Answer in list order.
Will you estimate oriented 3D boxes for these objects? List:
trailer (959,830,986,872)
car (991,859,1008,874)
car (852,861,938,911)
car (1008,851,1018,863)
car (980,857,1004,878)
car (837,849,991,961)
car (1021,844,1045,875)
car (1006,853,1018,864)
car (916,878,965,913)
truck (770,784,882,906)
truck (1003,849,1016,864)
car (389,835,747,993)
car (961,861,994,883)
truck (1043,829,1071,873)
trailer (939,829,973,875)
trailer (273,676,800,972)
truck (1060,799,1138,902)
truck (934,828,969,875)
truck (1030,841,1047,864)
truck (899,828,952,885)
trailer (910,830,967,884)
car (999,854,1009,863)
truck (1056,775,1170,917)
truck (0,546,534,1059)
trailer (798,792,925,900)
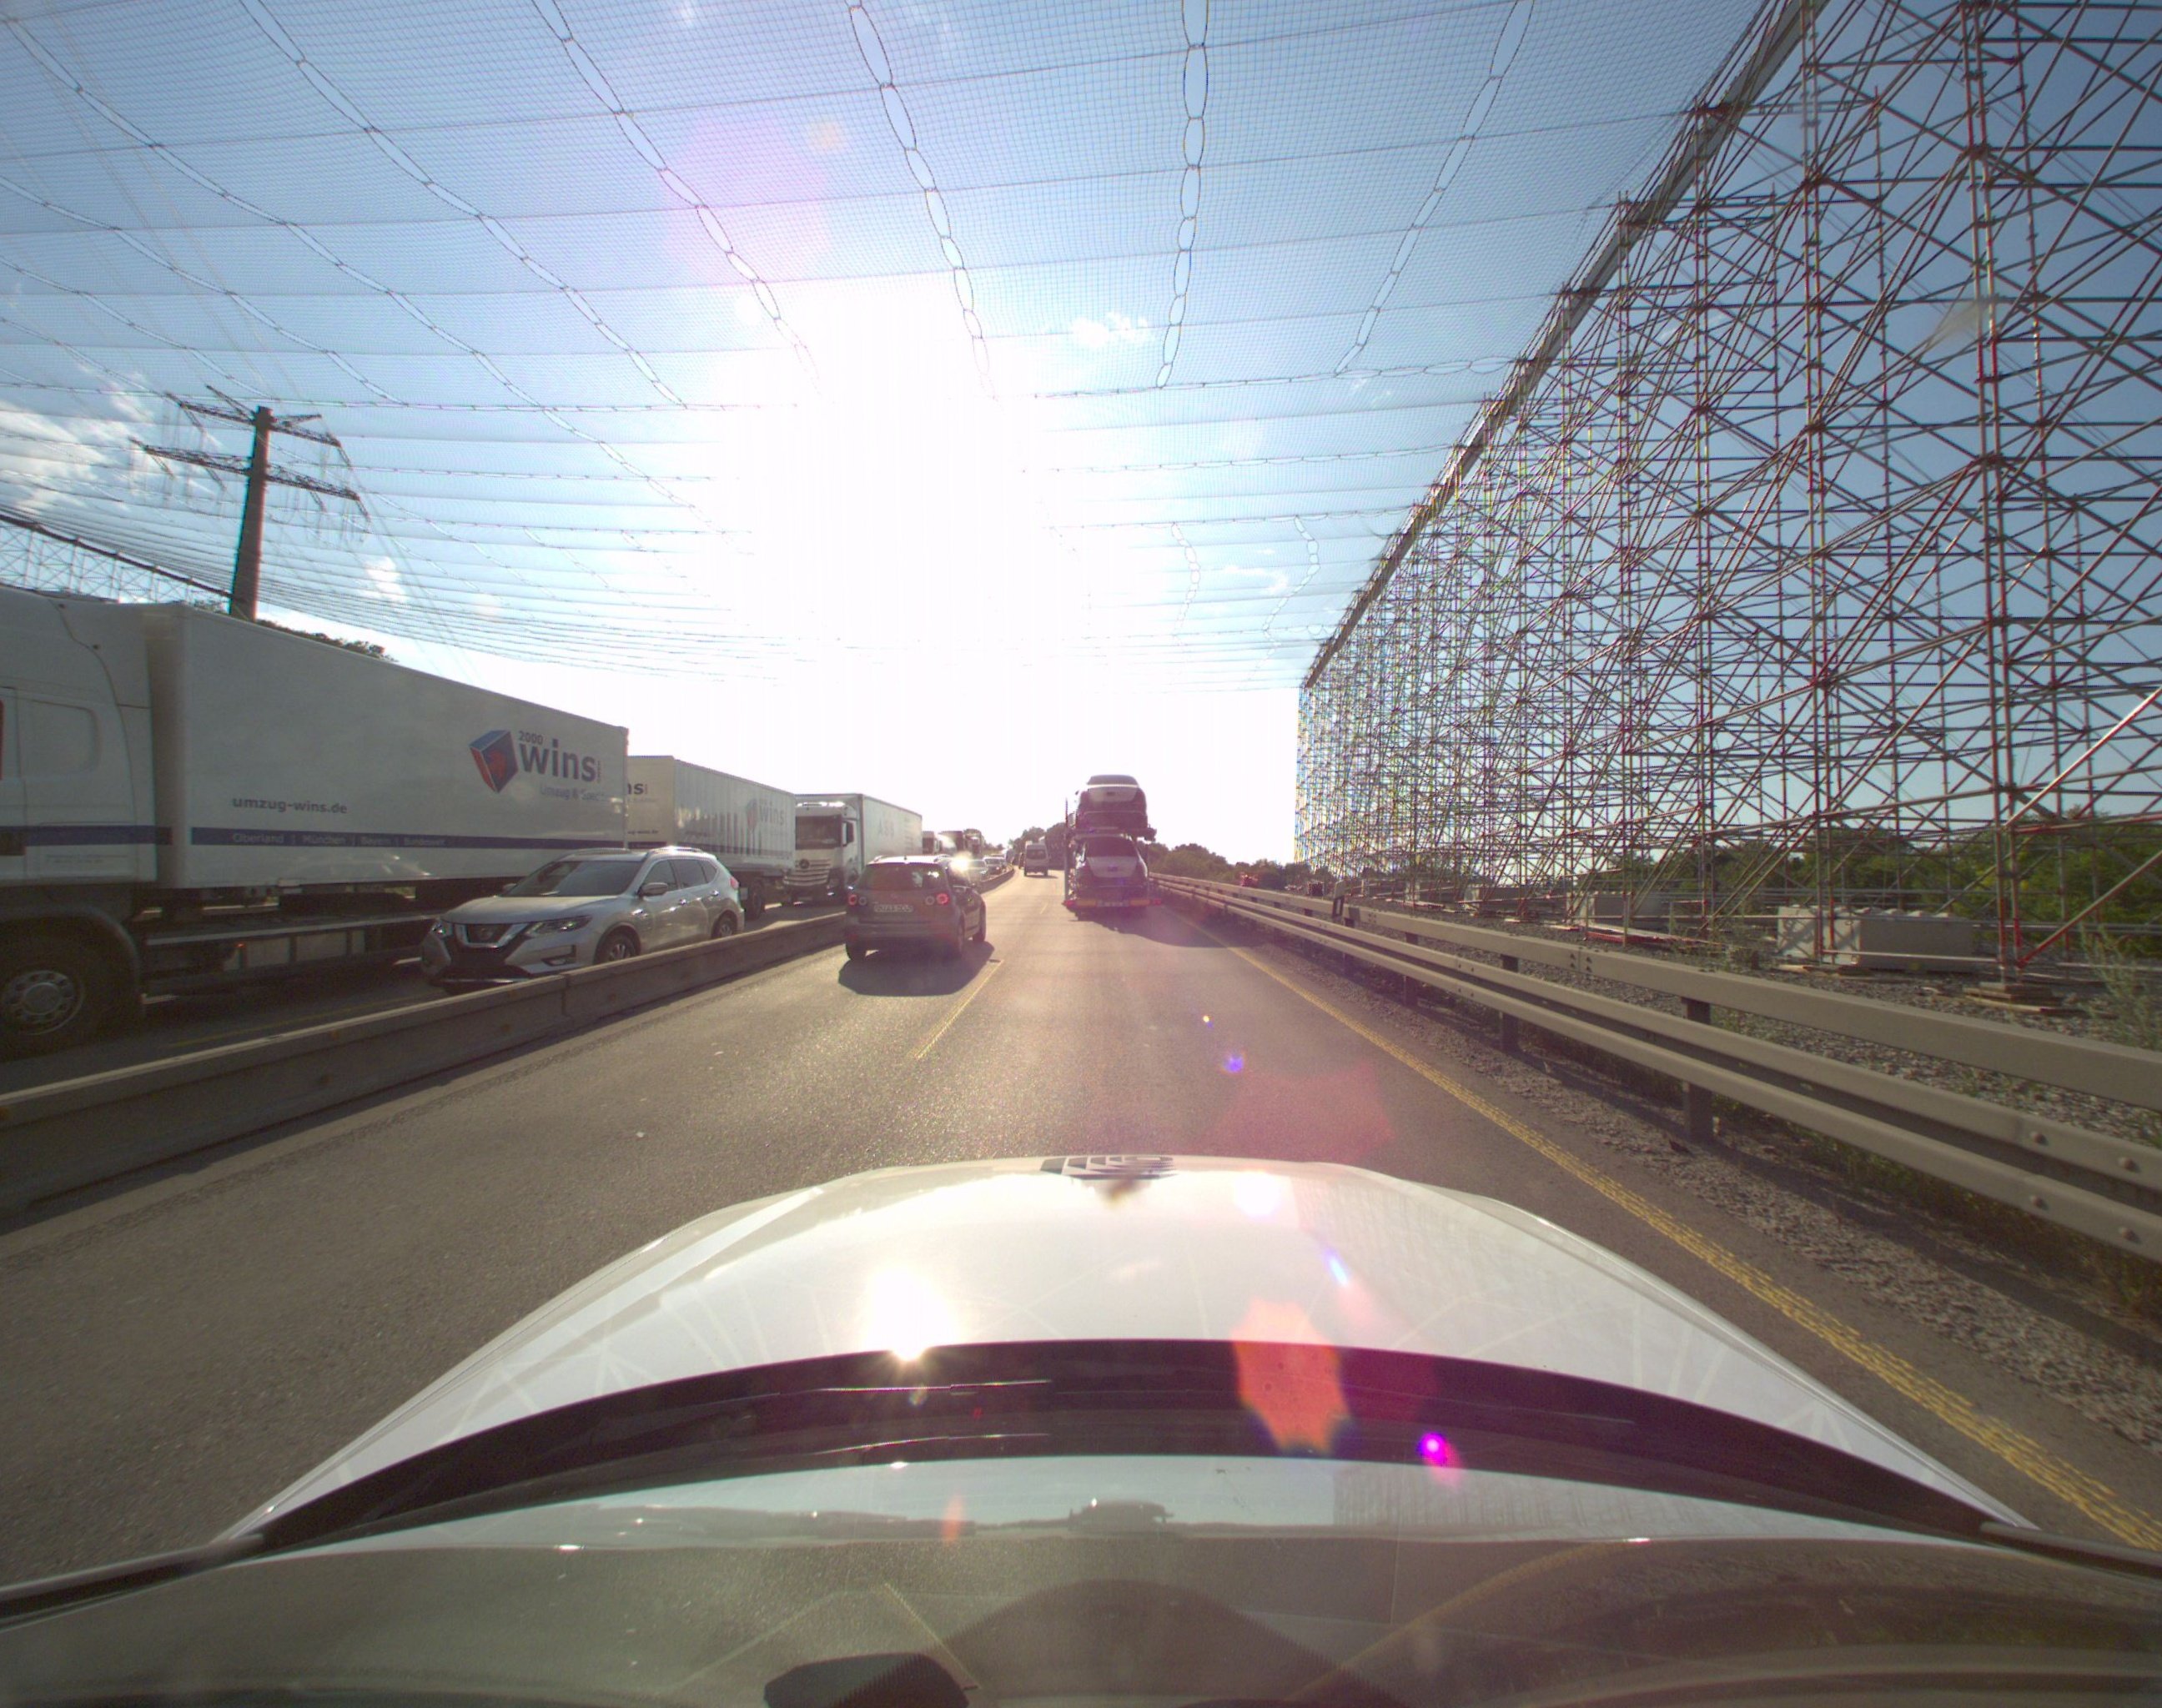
[{"bbox_3d":[-11.763,-0.294,89.023,2.472,4.328,10.489,0,-1,-6],"label":"trailer"},{"bbox_3d":[-8.174,1.209,81.641,1.625,1.426,4.380,0,-1,-5],"label":"car"},{"bbox_3d":[-5.933,0.970,26.489,1.772,1.450,4.661,0,-1,-1],"label":"car"},{"bbox_3d":[-12.023,0.509,144.172,1.628,2.014,3.991,0,-1,-6],"label":"car"},{"bbox_3d":[-7.184,1.070,65.864,1.747,1.587,3.937,0,-1,-4],"label":"car"},{"bbox_3d":[-2.619,0.753,13.699,1.686,1.596,4.000,0,-1,1],"label":"car"},{"bbox_3d":[-4.026,0.428,68.397,1.916,2.492,5.403,0,-1,-3],"label":"car"},{"bbox_3d":[-10.662,0.687,125.694,1.823,1.772,3.993,0,-1,-5],"label":"car"},{"bbox_3d":[-6.124,1.777,35.834,1.603,1.376,3.898,0,-1,-2],"label":"car"},{"bbox_3d":[-9.195,-0.288,29.955,2.467,4.046,5.613,0,-1,-2],"label":"truck"},{"bbox_3d":[-16.383,0.576,186.417,2.588,3.170,6.661,0,-1,-7],"label":"truck"},{"bbox_3d":[-6.064,0.621,10.391,1.802,1.568,4.364,0,-1,0],"label":"car"},{"bbox_3d":[-6.865,1.177,54.392,1.789,1.398,4.239,0,-1,-3],"label":"car"},{"bbox_3d":[-3.125,-0.325,101.759,3.279,5.237,9.924,0,-1,-3],"label":"truck"},{"bbox_3d":[-11.154,-0.117,73.540,2.304,3.790,12.028,0,-1,-6],"label":"trailer"},{"bbox_3d":[-9.675,-0.363,17.718,2.662,4.016,13.327,0,-1,-1],"label":"trailer"},{"bbox_3d":[0.593,-0.093,34.974,2.829,3.792,9.982,0,-1,-1],"label":"truck"},{"bbox_3d":[-10.732,-0.168,68.013,2.428,3.785,5.608,0,-1,-5],"label":"truck"},{"bbox_3d":[-6.974,-0.255,133.028,2.526,3.648,8.892,0,-1,-4],"label":"truck"},{"bbox_3d":[-9.624,0.169,50.980,2.407,3.370,5.612,0,-1,-2],"label":"truck"},{"bbox_3d":[-9.844,0.241,57.472,2.301,3.362,12.042,0,-1,-2],"label":"trailer"},{"bbox_3d":[-16.013,0.948,169.267,1.833,1.836,3.995,0,-1,-3],"label":"car"},{"bbox_3d":[0.727,-0.163,25.516,2.791,3.497,10.600,0,-1,-1],"label":"truck"},{"bbox_3d":[-9.540,-0.365,8.601,2.622,3.910,7.204,0,-1,0],"label":"truck"},{"bbox_3d":[-9.416,-0.241,36.984,2.421,3.963,14.086,0,-1,-2],"label":"trailer"}]
